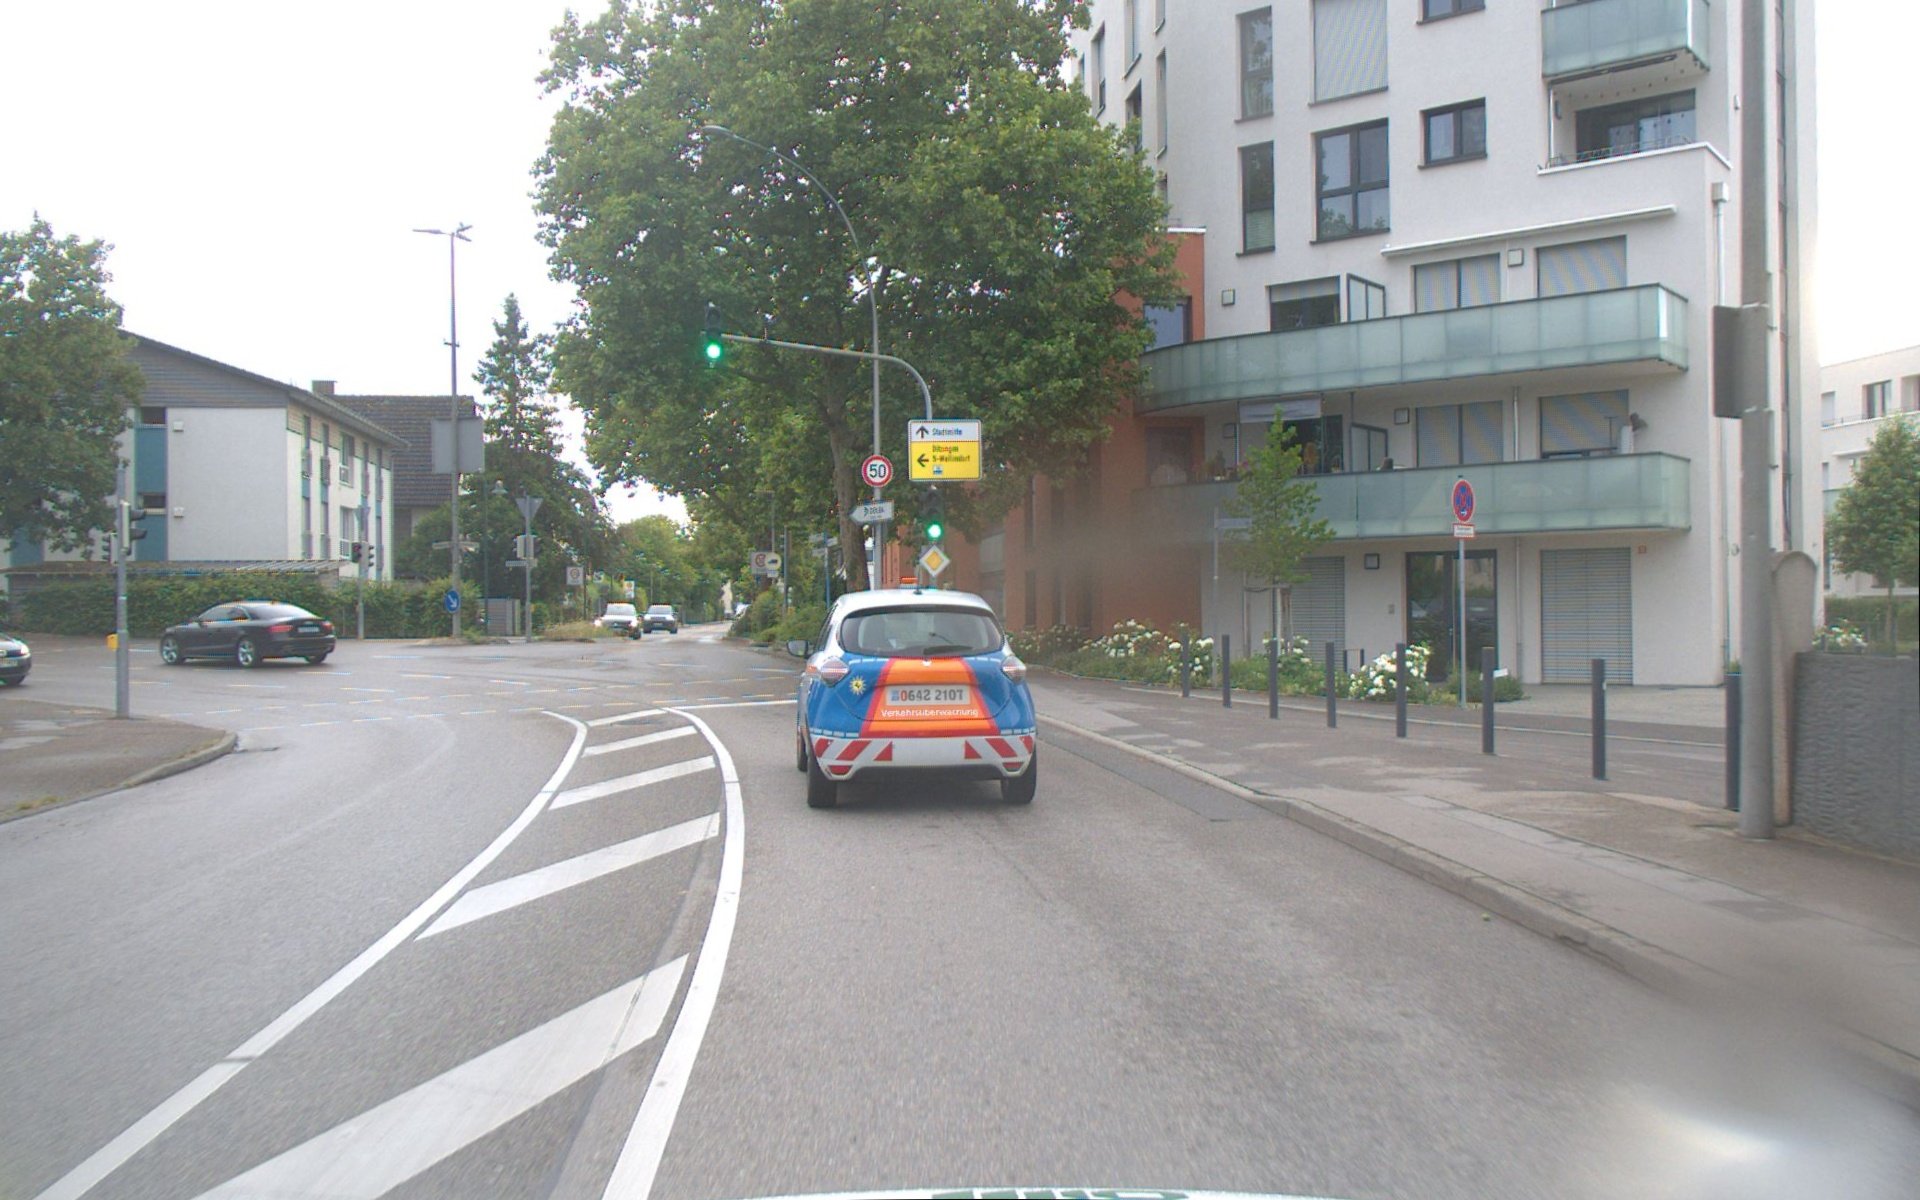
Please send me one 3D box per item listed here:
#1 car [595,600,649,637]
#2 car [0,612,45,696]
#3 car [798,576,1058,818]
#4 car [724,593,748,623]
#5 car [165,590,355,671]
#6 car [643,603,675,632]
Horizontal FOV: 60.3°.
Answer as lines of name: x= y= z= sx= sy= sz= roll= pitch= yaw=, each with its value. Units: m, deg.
car: x=-14.142 y=0.773 z=69.322 sx=1.905 sy=1.477 sz=4.291 roll=1 pitch=-1 yaw=-8
car: x=-19.429 y=1.034 z=31.150 sx=3.906 sy=1.481 sz=1.729 roll=-1 pitch=3 yaw=23
car: x=-0.407 y=0.632 z=13.337 sx=1.712 sy=1.608 sz=3.995 roll=-1 pitch=1 yaw=-6
car: x=-15.872 y=0.540 z=117.149 sx=1.612 sy=2.052 sz=3.709 roll=0 pitch=1 yaw=-8
car: x=-15.355 y=0.615 z=36.252 sx=3.916 sy=1.601 sz=1.995 roll=1 pitch=1 yaw=33
car: x=-17.879 y=1.018 z=98.406 sx=1.843 sy=1.698 sz=3.705 roll=0 pitch=0 yaw=-10
